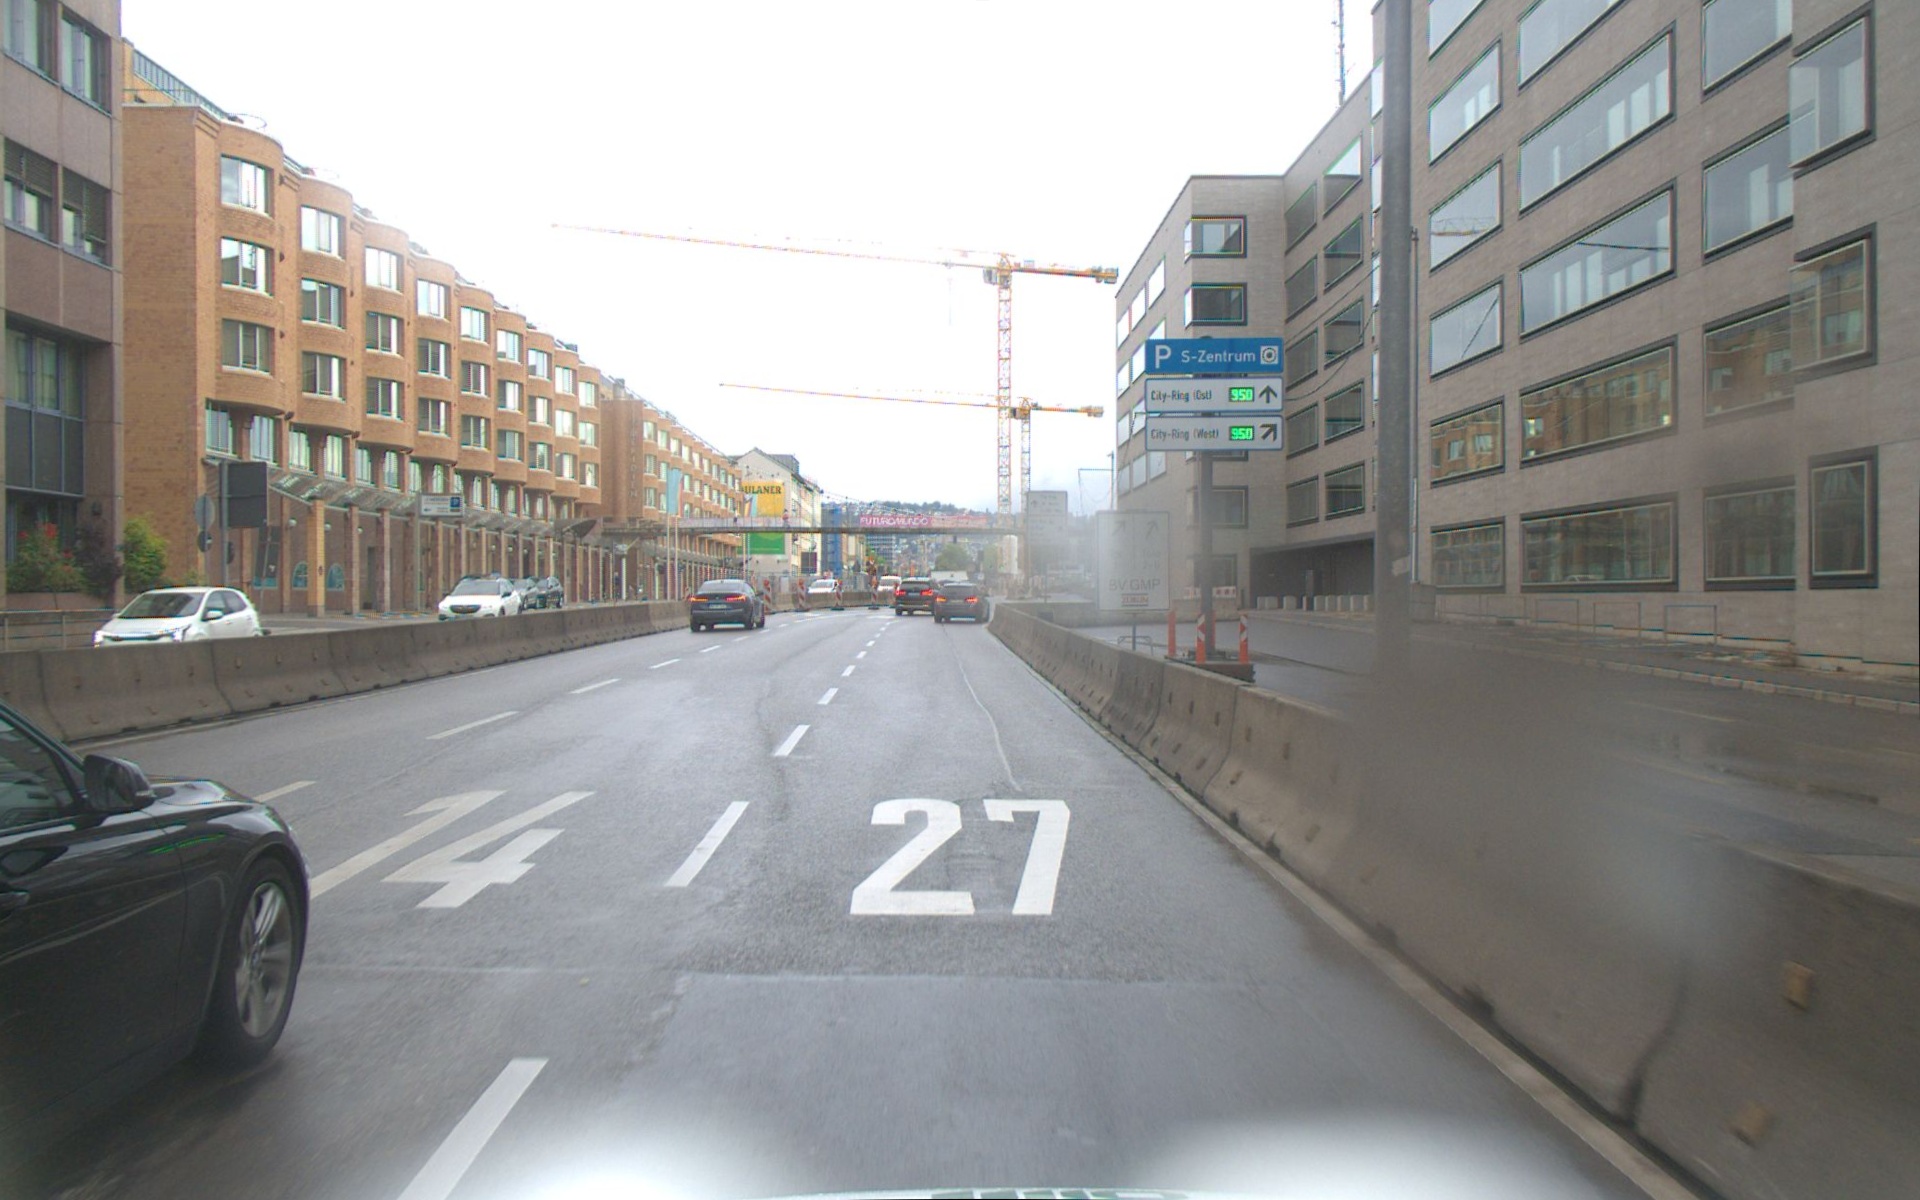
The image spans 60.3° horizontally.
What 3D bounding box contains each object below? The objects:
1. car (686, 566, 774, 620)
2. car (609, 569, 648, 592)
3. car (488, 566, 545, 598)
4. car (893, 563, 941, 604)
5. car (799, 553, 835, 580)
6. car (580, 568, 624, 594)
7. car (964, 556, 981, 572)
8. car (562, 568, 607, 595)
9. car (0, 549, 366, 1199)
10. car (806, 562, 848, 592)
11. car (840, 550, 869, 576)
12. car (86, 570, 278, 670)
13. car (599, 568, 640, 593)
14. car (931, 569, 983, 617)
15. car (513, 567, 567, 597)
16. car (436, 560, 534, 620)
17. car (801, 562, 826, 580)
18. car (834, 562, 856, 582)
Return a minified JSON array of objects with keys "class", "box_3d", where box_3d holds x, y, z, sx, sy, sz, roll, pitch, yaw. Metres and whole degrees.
[{"class":"car","box_3d":[-6.662,-0.234,48.348,1.753,1.451,4.386,-1,1,2]},{"class":"car","box_3d":[-24.729,-1.458,123.550,1.953,1.648,4.690,-1,1,-1]},{"class":"car","box_3d":[-23.914,-0.976,89.298,1.953,1.648,4.317,-1,1,-1]},{"class":"car","box_3d":[-1.895,-0.749,73.908,1.860,1.723,4.001,-1,1,2]},{"class":"car","box_3d":[-9.305,-2.181,107.743,1.953,1.648,4.762,-1,1,-1]},{"class":"car","box_3d":[-24.067,-1.295,111.393,1.953,1.648,4.690,-1,1,-1]},{"class":"car","box_3d":[1.410,-4.101,188.375,1.860,1.723,4.001,-1,1,2]},{"class":"car","box_3d":[-24.054,-1.218,106.123,1.953,1.648,4.317,-1,1,-1]},{"class":"car","box_3d":[-2.881,0.620,3.418,1.755,1.450,4.612,0,1,-2]},{"class":"car","box_3d":[-7.715,-1.348,96.148,1.952,1.648,4.764,-1,1,1]},{"class":"car","box_3d":[-8.179,-2.851,128.284,1.953,1.858,4.762,-1,1,-1]},{"class":"car","box_3d":[-13.182,0.292,28.250,1.570,1.467,3.657,-1,2,-1]},{"class":"car","box_3d":[-24.122,-1.380,117.363,1.953,1.648,4.690,-1,1,-1]},{"class":"car","box_3d":[-0.075,-0.280,62.052,1.861,1.723,4.001,-1,1,1]},{"class":"car","box_3d":[-23.883,-1.048,94.169,1.953,1.648,4.317,-1,1,-1]},{"class":"car","box_3d":[-14.367,-0.339,50.247,1.783,1.647,4.192,-1,2,-1]},{"class":"car","box_3d":[-13.705,-2.698,154.533,1.953,1.648,4.762,-1,1,-1]},{"class":"car","box_3d":[-11.894,-2.905,171.504,1.953,2.049,4.000,-1,1,0]}]
